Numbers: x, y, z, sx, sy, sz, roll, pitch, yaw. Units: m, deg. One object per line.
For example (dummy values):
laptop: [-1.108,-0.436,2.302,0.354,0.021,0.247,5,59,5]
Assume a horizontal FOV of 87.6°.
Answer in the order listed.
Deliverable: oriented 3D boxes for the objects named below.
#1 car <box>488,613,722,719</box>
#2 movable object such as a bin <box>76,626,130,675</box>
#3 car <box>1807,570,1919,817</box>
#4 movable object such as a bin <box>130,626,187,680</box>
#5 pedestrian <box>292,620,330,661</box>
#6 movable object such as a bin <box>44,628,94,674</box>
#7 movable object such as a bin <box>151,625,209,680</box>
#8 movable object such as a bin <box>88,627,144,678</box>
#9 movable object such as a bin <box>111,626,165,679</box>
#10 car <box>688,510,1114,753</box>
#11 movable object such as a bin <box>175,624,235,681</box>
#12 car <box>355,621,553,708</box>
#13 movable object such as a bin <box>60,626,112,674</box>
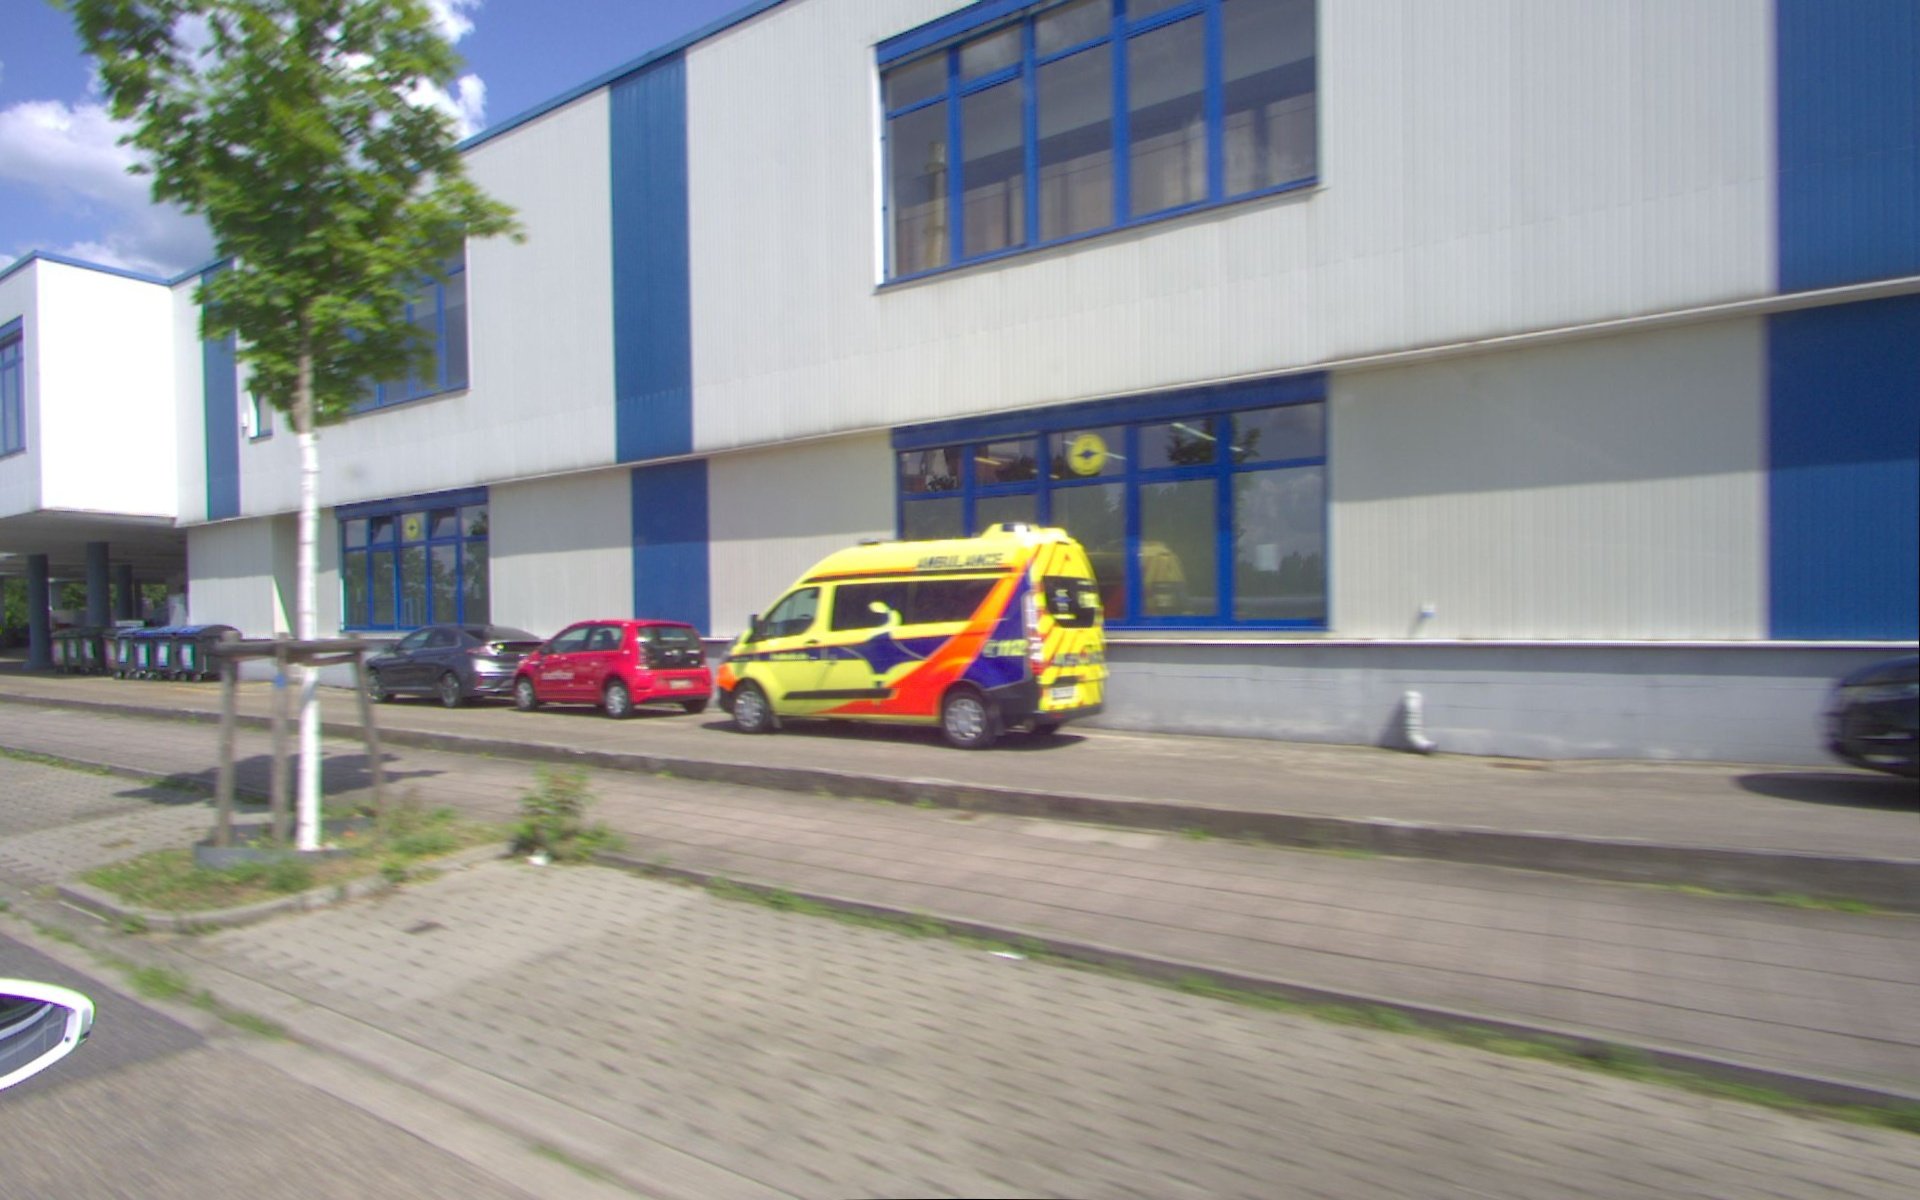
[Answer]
car: [-5.728,1.006,16.048,3.763,1.509,1.570,-2,-2,33]
movable object such as a bin: [-25.478,1.491,29.776,1.385,1.431,0.803,-1,-1,30]
car: [8.444,0.584,6.575,4.156,1.673,1.711,-2,-1,33]
movable object such as a bin: [-21.921,1.445,27.389,1.338,1.431,0.803,-1,-1,32]
pedestrian: [-16.639,1.036,25.674,0.700,1.026,0.563,-1,-3,33]
movable object such as a bin: [-27.873,1.588,31.321,1.338,1.431,0.803,-1,-1,30]
movable object such as a bin: [-20.675,1.380,26.542,1.338,1.431,0.803,-1,-1,32]
movable object such as a bin: [-24.266,1.500,28.790,1.406,1.431,0.803,-1,-1,30]
movable object such as a bin: [-23.036,1.460,28.061,1.157,1.431,0.803,-1,-1,30]
car: [-0.860,0.405,12.502,5.185,2.495,1.920,-1,-1,33]
movable object such as a bin: [-19.456,1.347,25.817,1.338,1.431,0.803,-1,-1,32]
car: [-9.227,1.125,18.185,3.800,1.421,1.493,-2,-2,33]
movable object such as a bin: [-26.652,1.515,30.524,1.338,1.431,0.803,-1,-1,30]
